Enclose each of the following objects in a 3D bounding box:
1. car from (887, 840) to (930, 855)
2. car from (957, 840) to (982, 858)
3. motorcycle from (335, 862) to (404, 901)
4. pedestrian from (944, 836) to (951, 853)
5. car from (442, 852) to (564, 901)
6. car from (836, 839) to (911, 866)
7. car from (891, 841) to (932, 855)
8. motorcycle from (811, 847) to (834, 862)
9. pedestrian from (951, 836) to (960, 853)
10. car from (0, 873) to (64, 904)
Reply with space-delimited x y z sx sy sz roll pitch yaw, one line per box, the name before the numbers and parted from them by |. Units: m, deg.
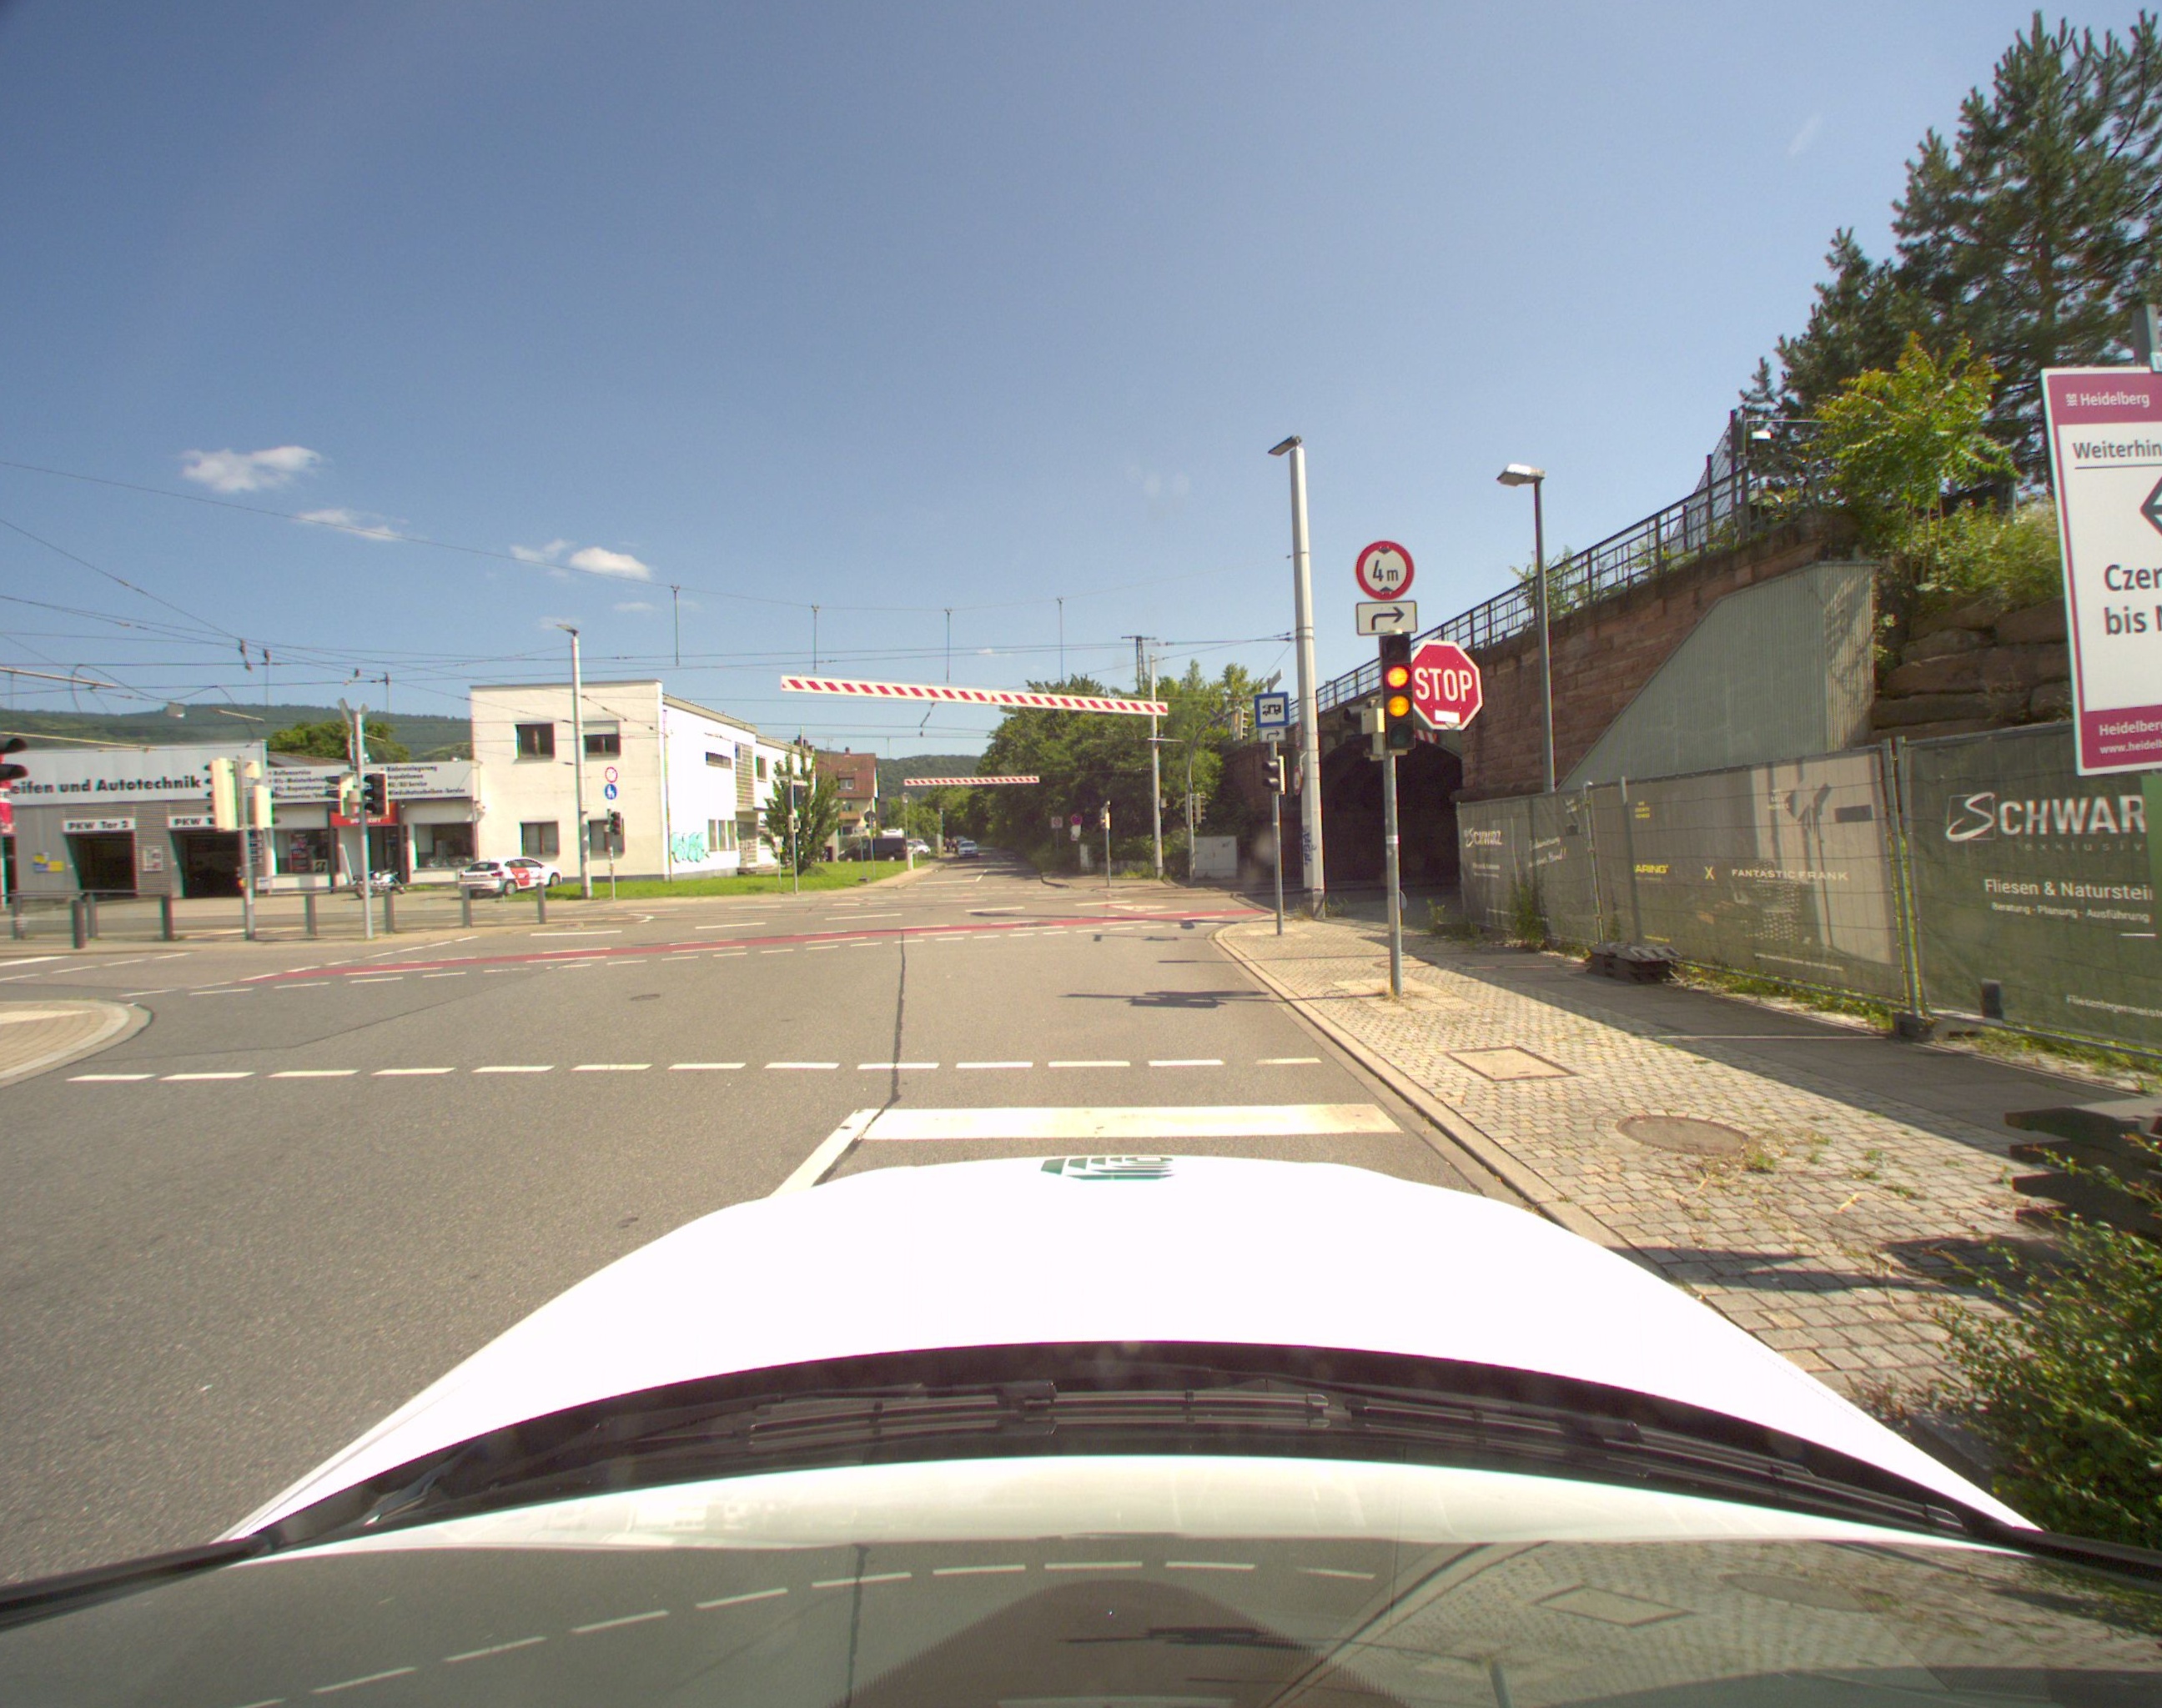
car | -16.100 -0.572 75.987 3.715 1.371 1.601 0 -1 -6
car | -10.001 -0.481 73.163 2.084 1.510 4.530 0 2 -6
motorcycle | -28.301 1.057 32.450 0.726 1.308 2.191 -2 4 0
pedestrian | -13.767 -1.000 83.757 0.653 1.763 0.802 0 -1 -7
car | -22.648 0.837 32.124 1.878 1.462 4.001 -2 4 -1
car | -15.658 -0.135 61.748 5.245 1.816 1.995 -3 1 -8
car | -16.288 -0.568 78.413 3.715 1.371 1.601 0 0 -6
motorcycle | -17.600 0.044 55.506 0.850 1.032 2.564 0 -1 -3
pedestrian | -12.936 -0.959 83.725 0.875 1.763 0.729 0 -1 -7
car | -52.558 1.730 39.508 1.716 1.376 3.769 -2 1 -4
